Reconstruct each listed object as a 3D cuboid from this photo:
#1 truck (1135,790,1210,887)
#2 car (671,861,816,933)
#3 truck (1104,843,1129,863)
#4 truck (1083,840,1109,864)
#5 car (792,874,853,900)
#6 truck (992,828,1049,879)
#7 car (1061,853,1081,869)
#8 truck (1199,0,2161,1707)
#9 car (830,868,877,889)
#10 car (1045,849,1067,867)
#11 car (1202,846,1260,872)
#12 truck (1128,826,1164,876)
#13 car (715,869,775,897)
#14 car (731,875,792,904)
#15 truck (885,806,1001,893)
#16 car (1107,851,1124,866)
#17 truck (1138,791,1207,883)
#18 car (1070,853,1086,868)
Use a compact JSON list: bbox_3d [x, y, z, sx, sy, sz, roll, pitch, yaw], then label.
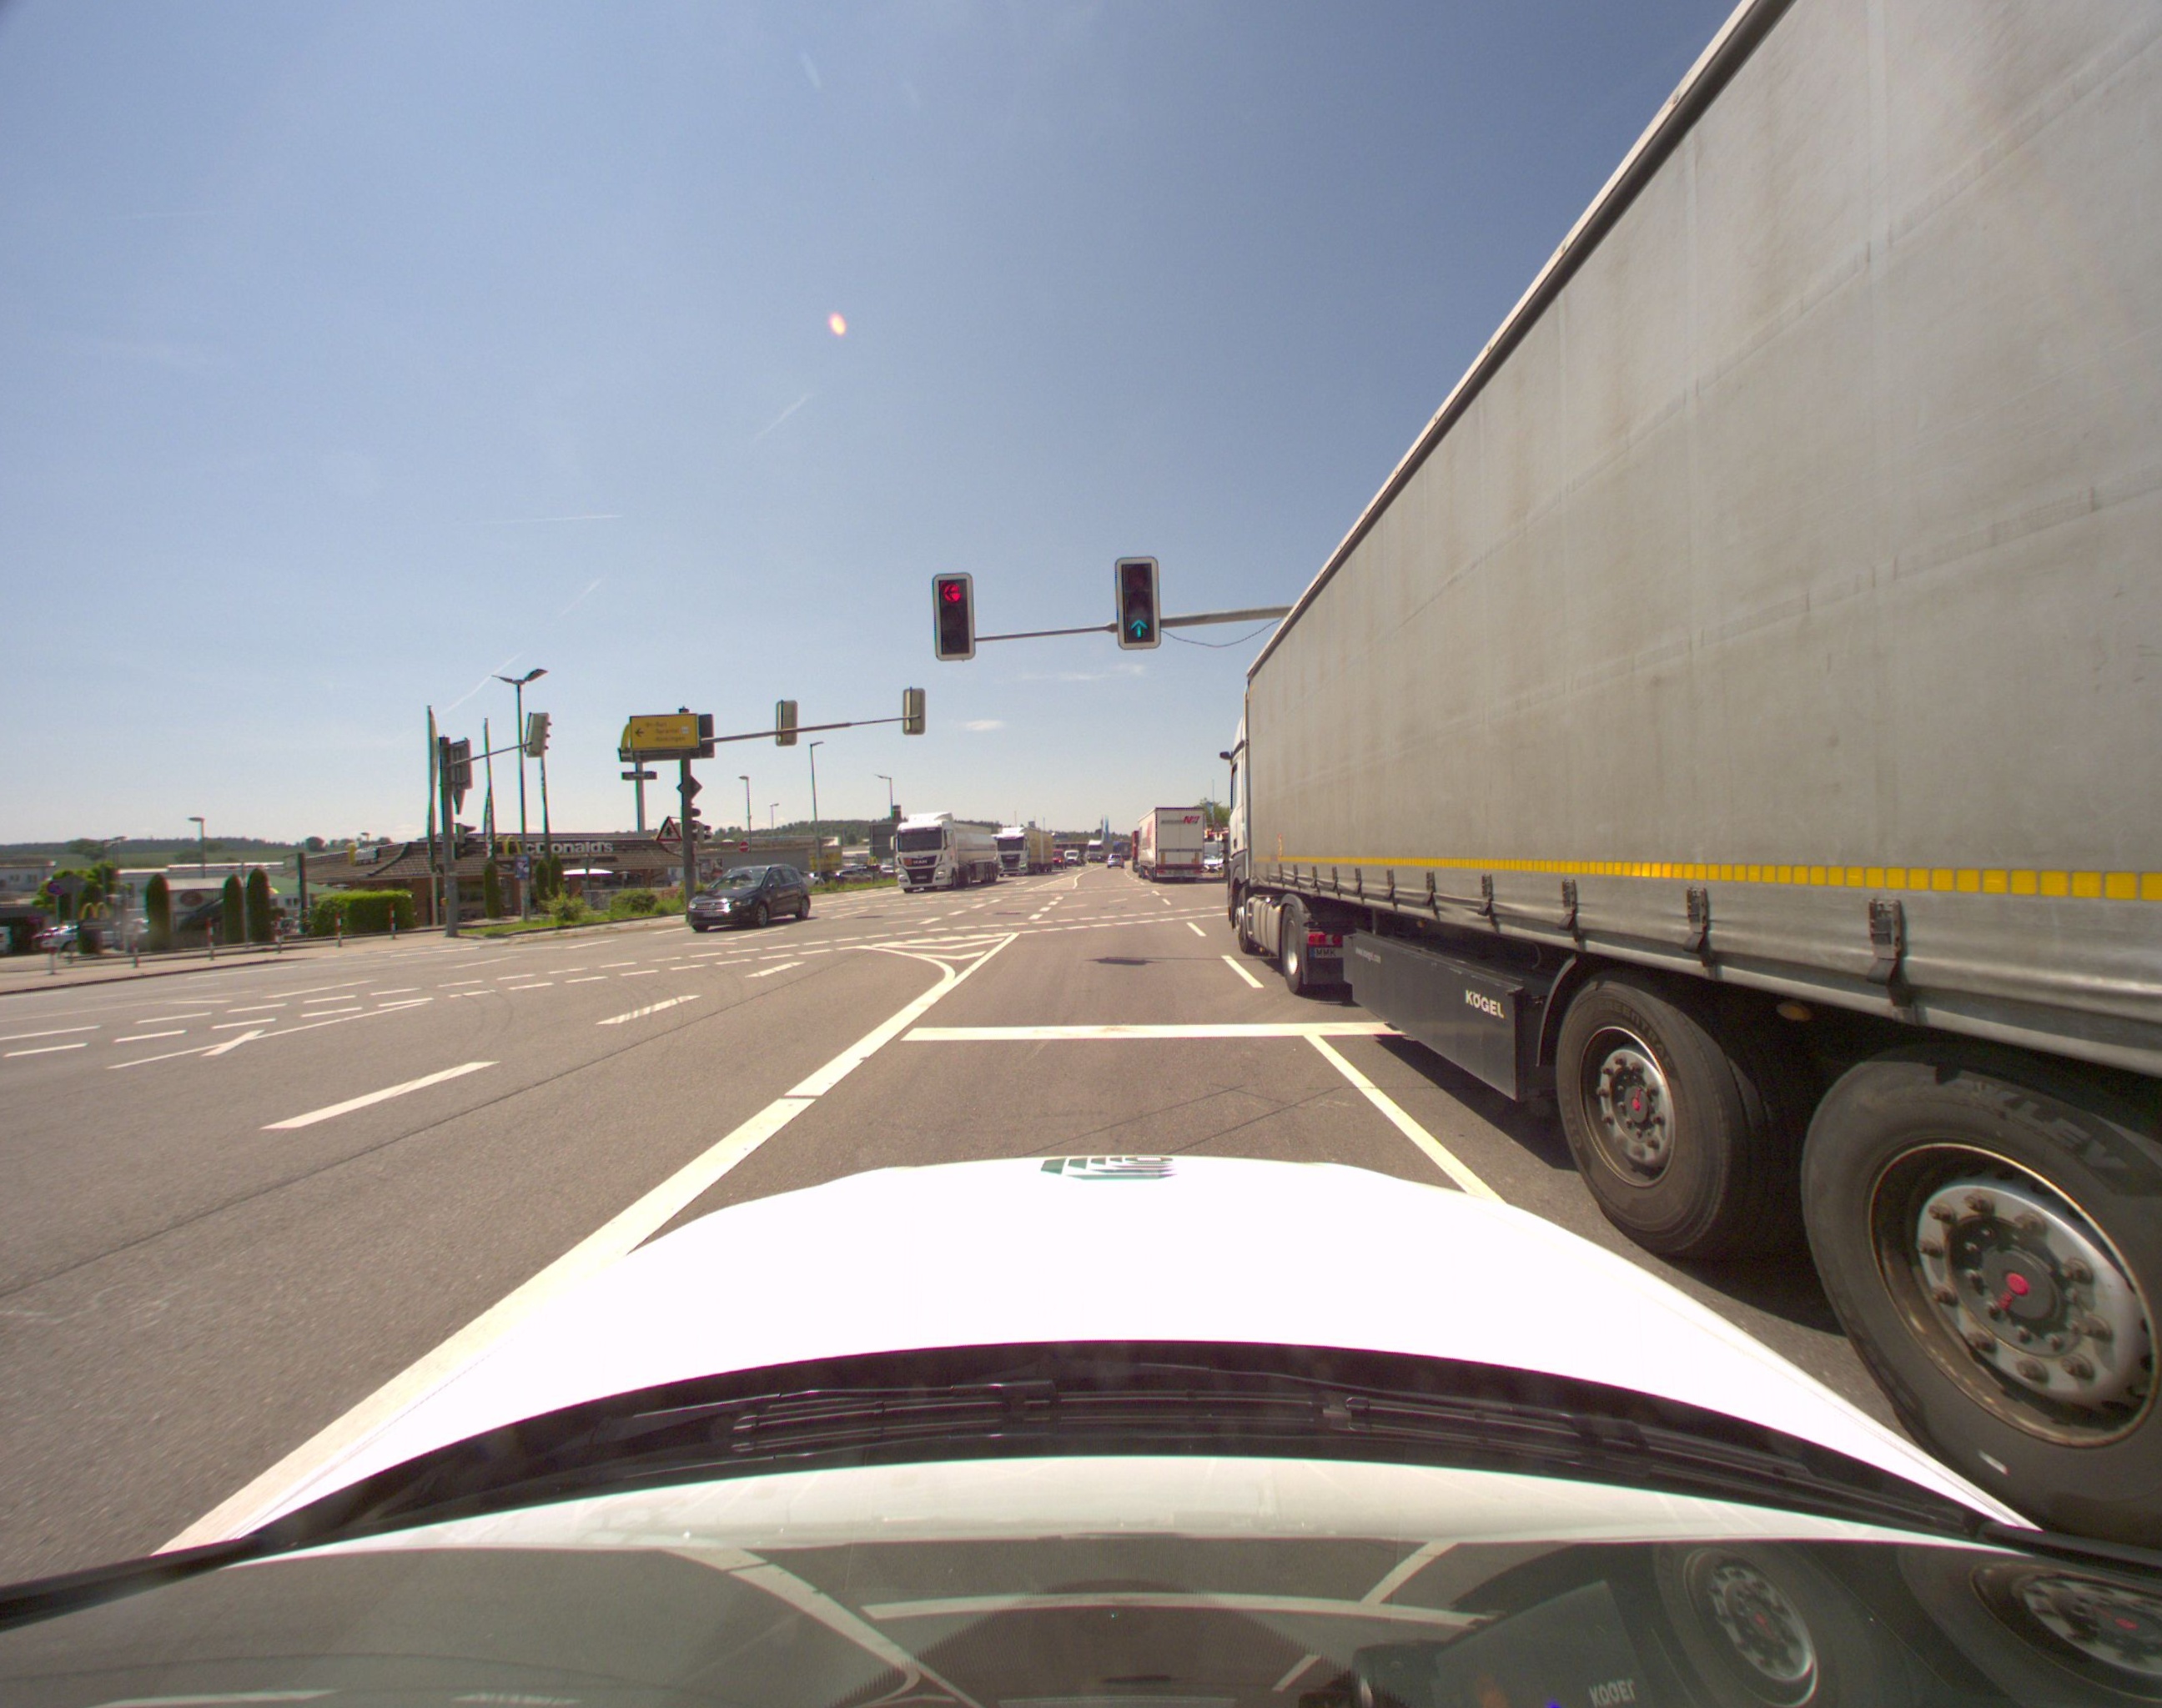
[{"bbox_3d":[5.185,-0.762,49.149,2.924,4.837,14.874,-3,0,1],"label":"truck"},{"bbox_3d":[-8.845,1.060,21.772,1.818,1.583,4.249,-4,0,3],"label":"car"},{"bbox_3d":[7.700,-0.144,173.710,3.250,3.950,13.905,-3,0,10],"label":"truck"},{"bbox_3d":[2.941,-0.243,151.359,3.253,3.950,13.892,-1,-1,8],"label":"truck"},{"bbox_3d":[-20.155,2.541,63.632,1.974,1.794,4.026,-2,0,38],"label":"car"},{"bbox_3d":[-5.135,-0.021,71.973,2.921,3.950,13.879,-3,0,4],"label":"truck"},{"bbox_3d":[-1.318,0.947,112.762,2.192,2.013,4.763,-3,0,5],"label":"car"},{"bbox_3d":[3.211,-0.641,6.025,2.745,4.639,16.660,-1,-1,2],"label":"truck"},{"bbox_3d":[-20.054,2.118,71.832,1.768,1.658,3.611,-3,0,44],"label":"car"},{"bbox_3d":[-2.845,0.496,93.647,1.984,2.014,4.006,-1,-2,5],"label":"car"},{"bbox_3d":[11.597,0.401,63.080,3.982,1.794,1.996,-2,0,-6],"label":"car"},{"bbox_3d":[6.417,-0.068,82.763,2.864,4.479,16.660,-1,-1,2],"label":"truck"},{"bbox_3d":[-27.145,2.329,65.861,1.918,2.013,4.026,-2,0,38],"label":"car"},{"bbox_3d":[-25.278,2.789,64.458,1.918,2.013,4.026,-2,0,38],"label":"car"},{"bbox_3d":[-7.200,-0.207,45.468,2.921,3.950,14.252,-3,0,4],"label":"truck"},{"bbox_3d":[4.053,0.580,95.497,1.796,1.670,4.296,-1,-1,4],"label":"car"},{"bbox_3d":[5.206,-0.638,49.707,2.864,4.639,16.660,-1,-1,2],"label":"truck"},{"bbox_3d":[-0.429,0.988,119.663,1.895,2.014,4.005,-1,-2,5],"label":"car"}]
